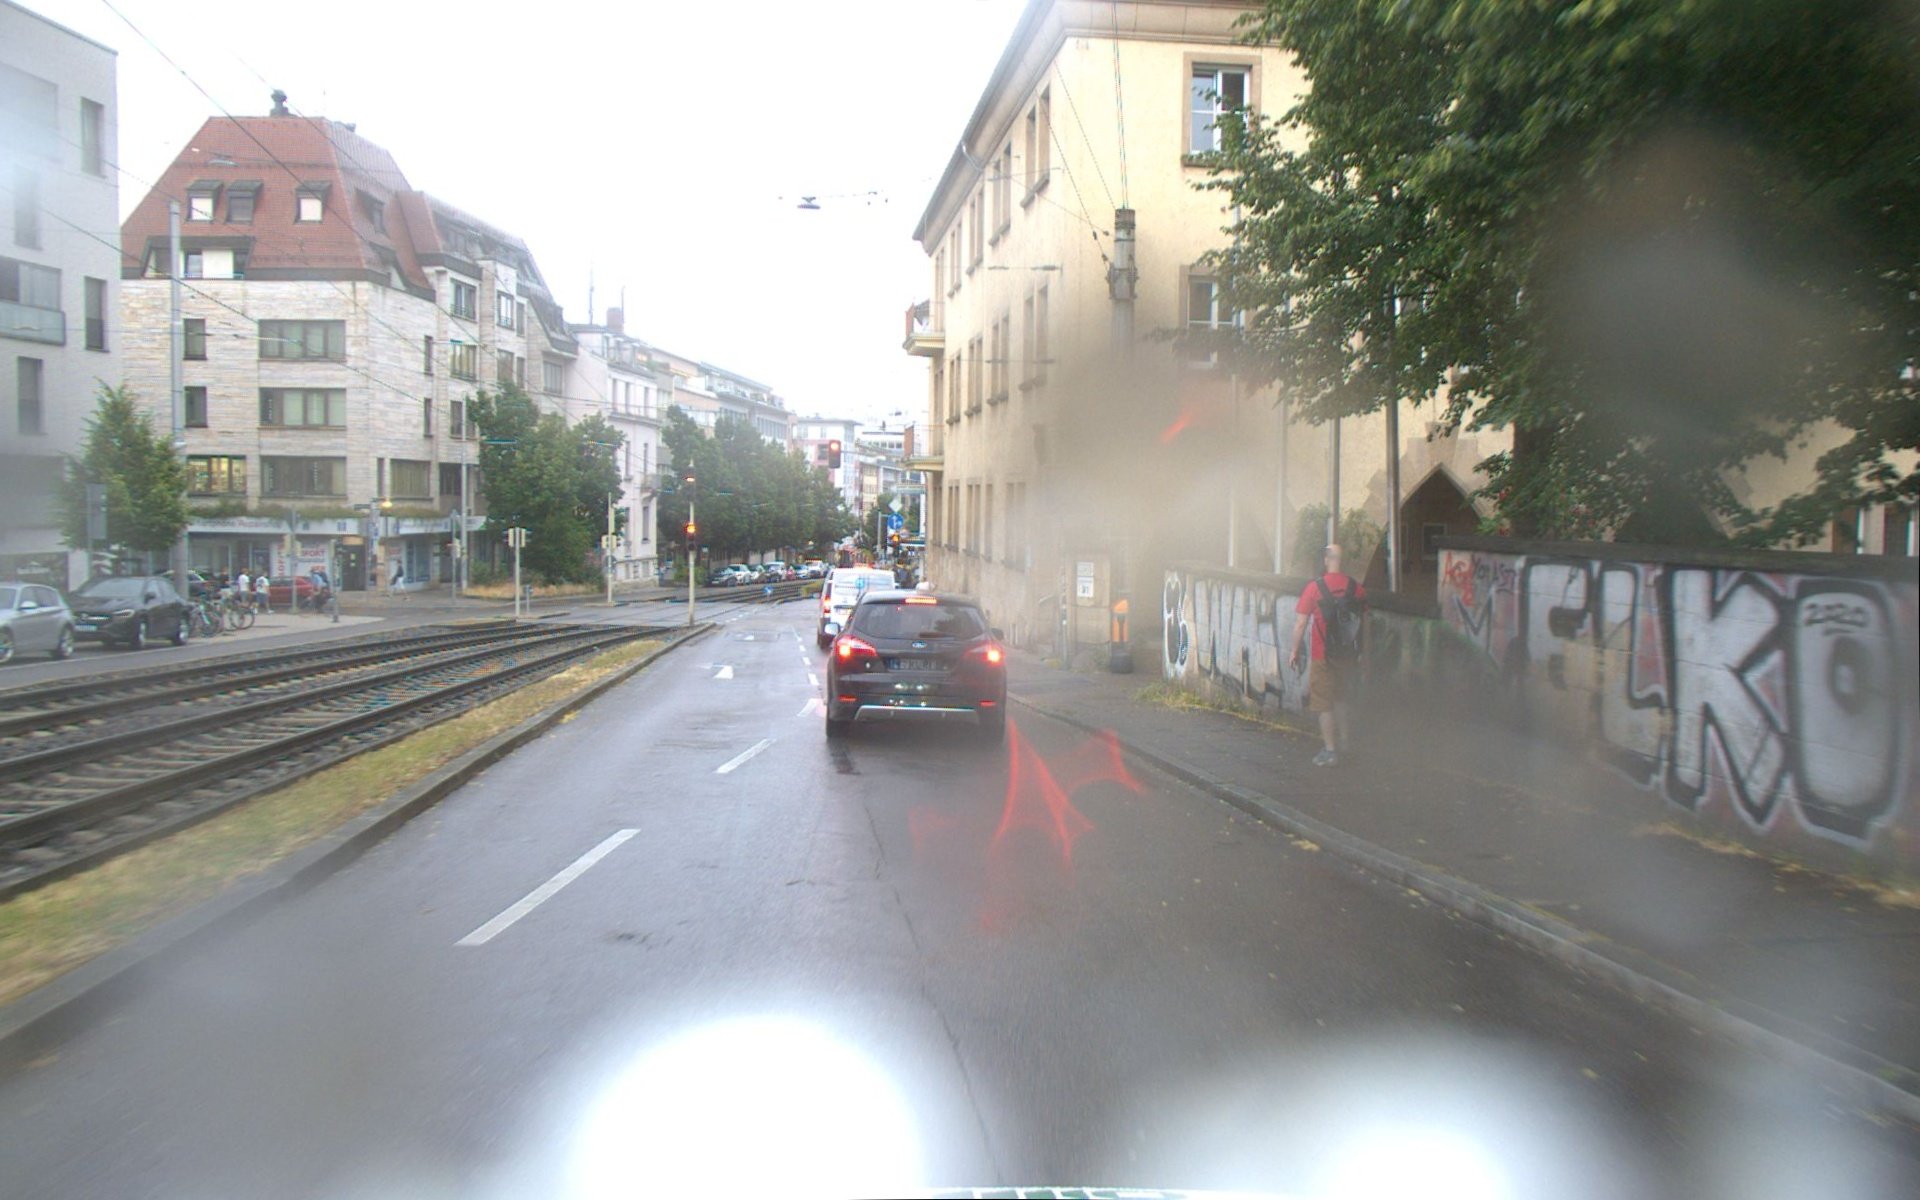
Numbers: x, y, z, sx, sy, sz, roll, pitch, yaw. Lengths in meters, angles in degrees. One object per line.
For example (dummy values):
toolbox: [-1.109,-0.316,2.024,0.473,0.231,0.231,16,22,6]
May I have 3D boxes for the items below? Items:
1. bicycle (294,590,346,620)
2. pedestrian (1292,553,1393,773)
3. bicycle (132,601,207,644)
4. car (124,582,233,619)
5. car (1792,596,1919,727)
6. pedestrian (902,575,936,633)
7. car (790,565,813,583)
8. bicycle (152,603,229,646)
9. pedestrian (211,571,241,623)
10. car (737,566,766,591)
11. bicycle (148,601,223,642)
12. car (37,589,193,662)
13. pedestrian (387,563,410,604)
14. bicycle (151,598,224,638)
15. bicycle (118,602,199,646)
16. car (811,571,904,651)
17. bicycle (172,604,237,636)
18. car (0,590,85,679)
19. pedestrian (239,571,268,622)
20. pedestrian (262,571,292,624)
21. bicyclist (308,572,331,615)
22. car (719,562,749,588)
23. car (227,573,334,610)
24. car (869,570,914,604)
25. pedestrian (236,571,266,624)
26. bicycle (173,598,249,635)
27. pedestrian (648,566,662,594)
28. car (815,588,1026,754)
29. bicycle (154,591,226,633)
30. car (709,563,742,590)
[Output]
bicycle: [-24.116,0.184,62.322,1.787,1.082,0.450,1,1,-43]
pedestrian: [3.130,0.498,13.560,0.620,1.751,0.710,0,0,-5]
bicycle: [-21.049,0.601,44.059,1.733,1.090,0.485,1,0,-4]
car: [-35.215,-0.002,74.605,4.047,1.596,1.824,1,1,3]
car: [13.831,0.786,22.267,4.357,1.615,1.796,-1,2,2]
pedestrian: [-1.332,0.123,53.538,1.025,1.826,0.900,0,0,-8]
car: [-15.644,-2.566,163.226,1.953,1.691,3.999,0,1,-1]
bicycle: [-20.090,0.646,43.216,1.770,1.082,0.455,1,0,-21]
pedestrian: [-29.267,-0.118,65.922,0.924,2.049,0.763,0,0,-10]
car: [-17.532,-1.783,139.177,1.953,2.049,3.999,0,1,-1]
bicycle: [-21.078,0.582,45.033,1.770,1.082,0.455,1,0,-21]
car: [-18.718,0.517,36.862,1.876,1.530,4.228,0,0,-9]
pedestrian: [-26.579,-0.781,78.358,0.888,1.965,0.824,0,0,-9]
bicycle: [-21.915,0.505,46.945,1.769,1.082,0.566,1,0,-19]
bicycle: [-20.386,0.616,42.080,1.768,1.082,0.455,1,0,-17]
car: [-2.476,0.204,39.451,2.095,1.775,4.214,0,1,-5]
bicycle: [-21.841,0.567,47.815,1.623,0.881,0.567,1,0,-17]
car: [-17.707,0.589,30.296,1.740,1.530,4.075,0,0,-9]
pedestrian: [-28.670,-0.130,67.110,0.924,2.049,0.763,0,0,-10]
pedestrian: [-27.015,-0.100,65.445,0.923,2.049,0.764,0,0,-6]
bicyclist: [-24.133,-0.235,62.301,0.696,1.601,0.455,1,0,-42]
car: [-18.144,-2.020,132.771,1.953,2.049,3.999,0,1,-1]
car: [-30.434,-0.370,74.167,4.047,1.596,1.824,1,1,3]
car: [-3.702,-0.700,90.188,1.951,1.803,4.003,1,1,5]
pedestrian: [-28.009,-0.105,65.371,0.924,2.049,0.763,0,0,-10]
bicycle: [-22.153,0.483,48.968,1.917,1.045,0.718,1,0,-15]
pedestrian: [-22.582,-1.483,122.431,0.926,2.049,0.762,0,0,-16]
car: [-0.538,0.670,17.429,1.883,1.505,3.995,2,0,-6]
bicycle: [-21.344,0.337,45.875,1.774,1.127,0.452,1,0,-26]
car: [-17.915,-1.801,126.473,1.953,2.049,3.999,0,1,-1]
